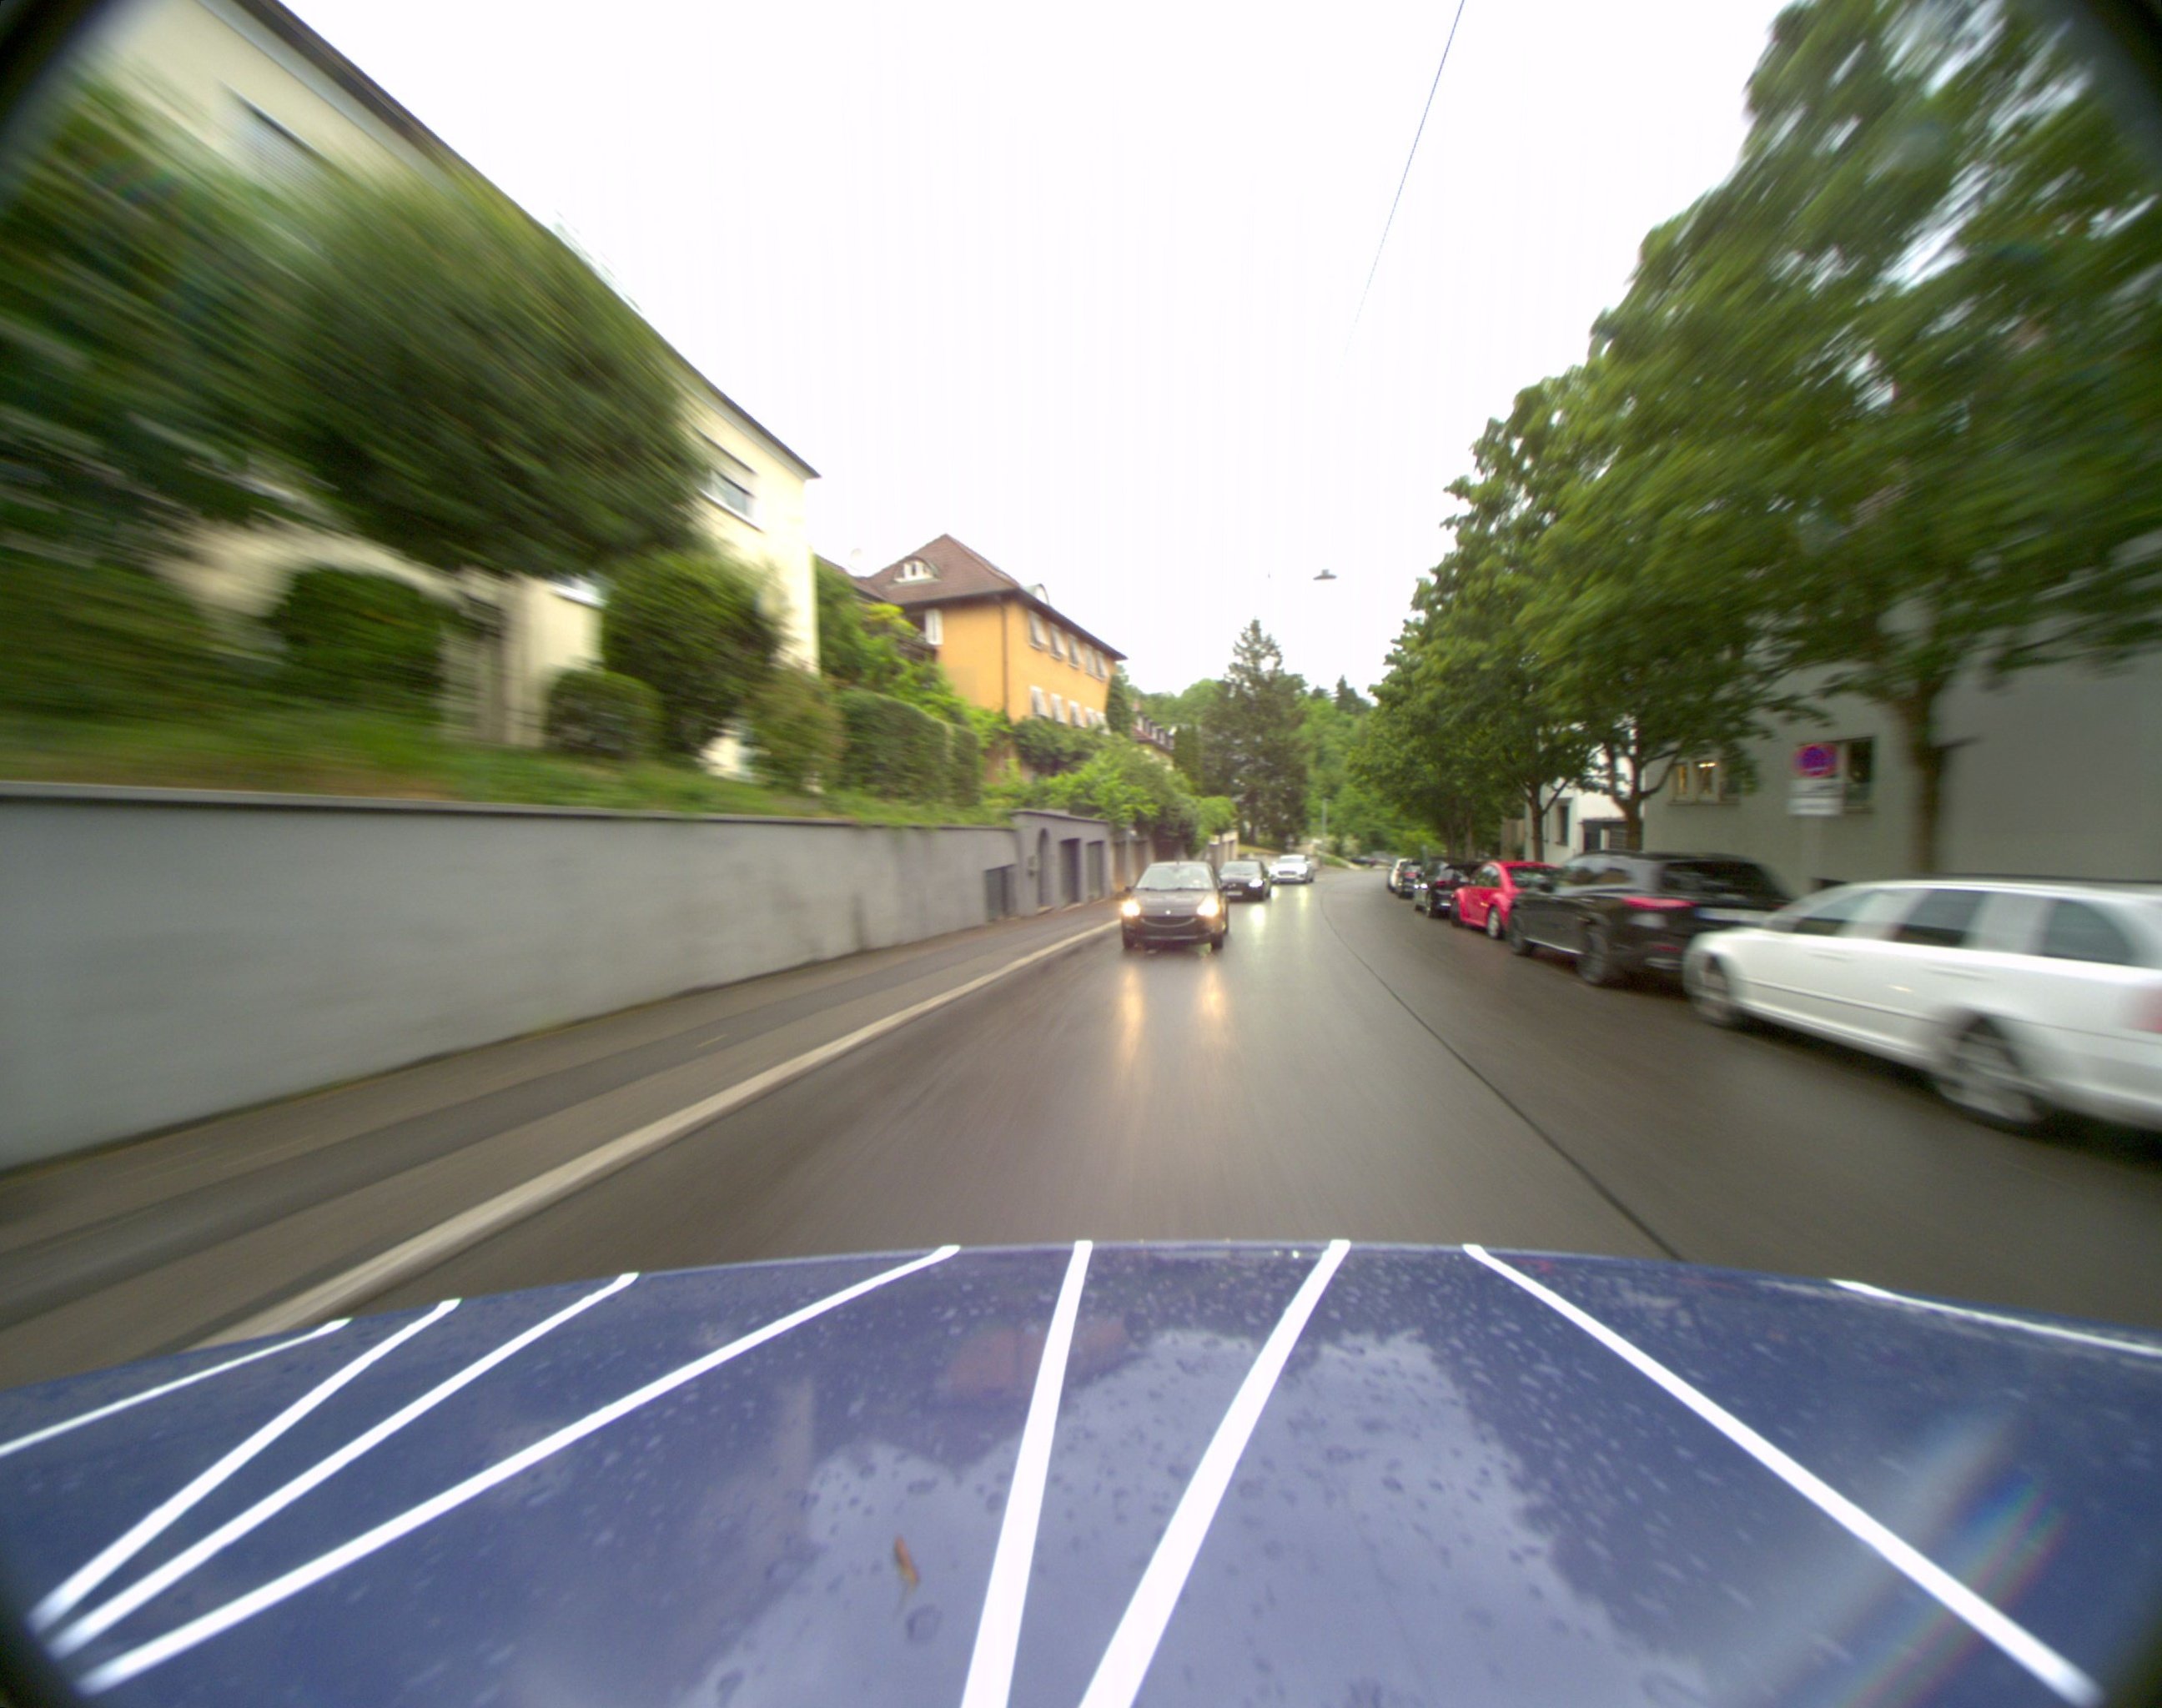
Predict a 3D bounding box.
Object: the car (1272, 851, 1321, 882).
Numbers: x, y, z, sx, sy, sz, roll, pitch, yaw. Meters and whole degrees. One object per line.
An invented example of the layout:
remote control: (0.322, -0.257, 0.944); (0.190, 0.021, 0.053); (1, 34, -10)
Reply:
car: (12.392, 0.677, 43.593); (2.009, 1.652, 4.453); (2, 1, 24)

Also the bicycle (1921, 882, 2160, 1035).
bicycle: (9.398, 0.941, 7.568); (0.619, 1.244, 1.908); (0, 0, 22)

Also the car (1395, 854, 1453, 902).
car: (12.861, 0.836, 28.666); (1.665, 1.480, 4.481); (4, 2, 21)

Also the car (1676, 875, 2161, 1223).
car: (6.212, 0.977, 5.127); (1.684, 1.500, 4.320); (2, 0, 12)

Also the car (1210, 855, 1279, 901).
car: (5.895, 0.804, 27.072); (1.804, 1.480, 4.023); (-1, 0, 21)

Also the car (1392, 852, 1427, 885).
car: (18.678, 0.795, 43.232); (1.619, 1.649, 3.930); (5, 3, 23)

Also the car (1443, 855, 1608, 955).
car: (8.764, 0.904, 15.373); (1.635, 1.556, 3.851); (3, 2, 11)

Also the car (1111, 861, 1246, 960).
car: (1.862, 0.890, 13.527); (1.576, 1.444, 3.592); (-1, 0, 21)

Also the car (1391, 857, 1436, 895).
car: (14.278, 0.903, 32.784); (1.575, 1.480, 3.475); (4, 1, 22)

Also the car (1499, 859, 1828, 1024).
car: (7.168, 0.894, 10.038); (1.684, 1.599, 4.581); (1, 0, 13)

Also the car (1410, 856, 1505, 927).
car: (9.719, 0.881, 19.880); (1.557, 1.480, 4.103); (4, 2, 18)

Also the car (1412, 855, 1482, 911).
car: (11.517, 0.857, 24.083); (1.556, 1.502, 3.388); (4, 2, 19)

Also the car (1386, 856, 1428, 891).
car: (15.710, 0.900, 36.750); (1.619, 1.462, 3.978); (4, 2, 21)
